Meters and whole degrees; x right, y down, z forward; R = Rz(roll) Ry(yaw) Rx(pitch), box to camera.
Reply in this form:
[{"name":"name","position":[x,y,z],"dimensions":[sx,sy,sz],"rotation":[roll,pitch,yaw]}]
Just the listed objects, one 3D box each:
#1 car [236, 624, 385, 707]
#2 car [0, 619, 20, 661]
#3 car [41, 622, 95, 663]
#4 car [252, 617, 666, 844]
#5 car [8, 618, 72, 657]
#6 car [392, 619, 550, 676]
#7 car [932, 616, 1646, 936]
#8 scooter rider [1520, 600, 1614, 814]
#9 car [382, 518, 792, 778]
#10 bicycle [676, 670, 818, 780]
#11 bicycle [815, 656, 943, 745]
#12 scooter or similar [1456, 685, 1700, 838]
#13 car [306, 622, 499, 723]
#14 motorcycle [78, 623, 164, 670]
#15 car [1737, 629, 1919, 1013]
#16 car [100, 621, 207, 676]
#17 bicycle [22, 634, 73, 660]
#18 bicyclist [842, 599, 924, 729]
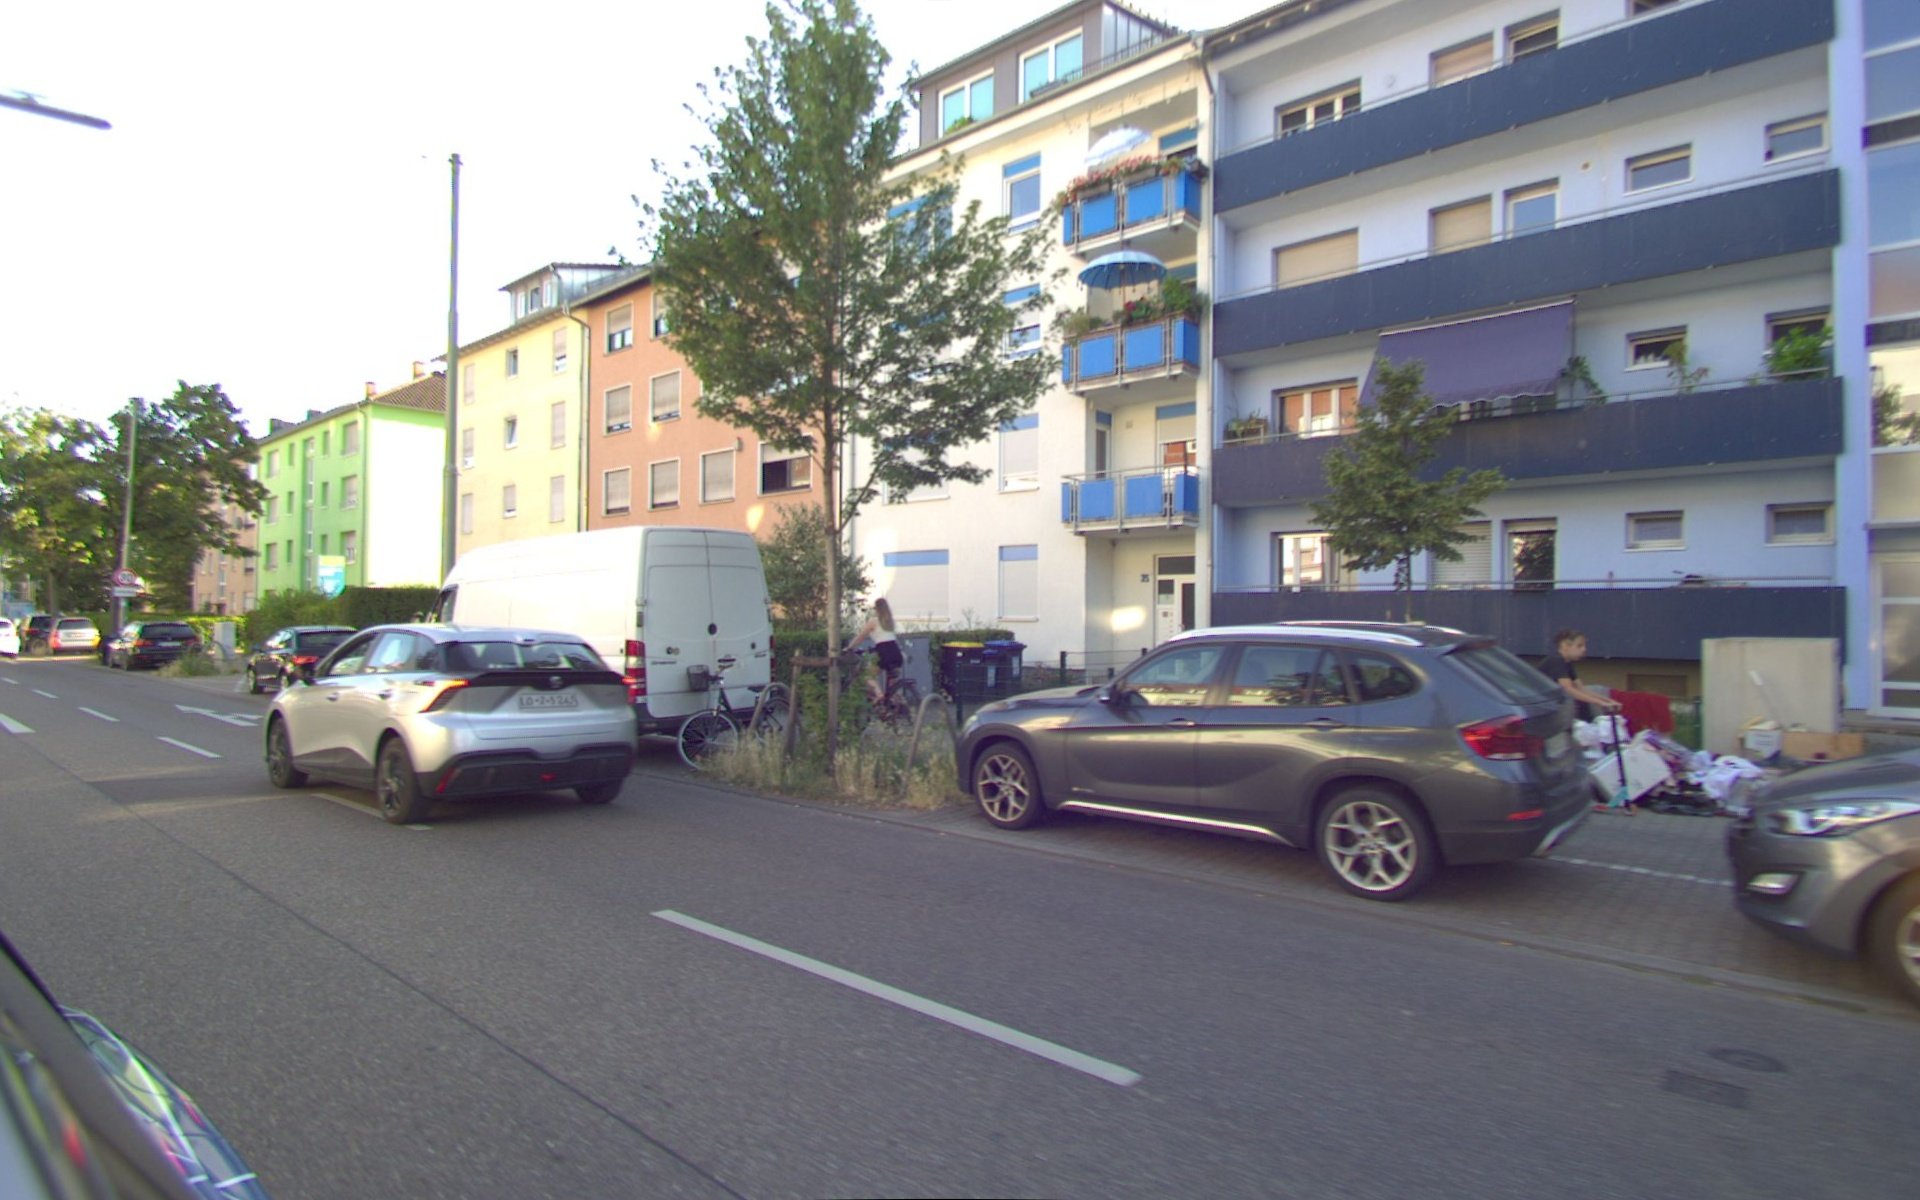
[{"name":"car","position":[-13.318,1.271,20.681],"dimensions":[3.812,1.484,1.595],"rotation":[-1,0,42]},{"name":"car","position":[-37.474,1.527,38.590],"dimensions":[4.263,1.555,1.860],"rotation":[-1,-3,40]},{"name":"car","position":[-37.044,1.734,42.012],"dimensions":[2.862,1.629,1.482],"rotation":[-1,-2,45]},{"name":"car","position":[-4.444,0.940,8.732],"dimensions":[3.969,1.506,1.762],"rotation":[-1,-4,41]},{"name":"car","position":[-43.522,1.744,47.833],"dimensions":[4.616,1.746,1.764],"rotation":[-1,-2,42]},{"name":"car","position":[-14.489,1.361,30.126],"dimensions":[1.628,1.540,3.945],"rotation":[-1,-1,41]},{"name":"car","position":[1.968,0.906,7.070],"dimensions":[4.473,1.555,1.654],"rotation":[-1,-2,43]},{"name":"scooter rider","position":[4.872,0.830,8.130],"dimensions":[0.458,1.643,0.535],"rotation":[2,-3,-45]},{"name":"car","position":[-5.271,0.540,13.401],"dimensions":[7.102,2.636,1.972],"rotation":[-1,-1,42]},{"name":"bicycle","position":[-2.244,1.294,10.766],"dimensions":[1.454,1.022,0.440],"rotation":[0,-1,-41]},{"name":"bicycle","position":[-1.079,1.264,13.130],"dimensions":[0.613,1.022,1.955],"rotation":[2,-2,-41]},{"name":"scooter or similar","position":[4.889,1.233,8.091],"dimensions":[0.458,1.022,1.590],"rotation":[2,-3,-44]},{"name":"car","position":[-9.820,1.166,17.702],"dimensions":[4.057,1.503,1.689],"rotation":[-1,1,42]},{"name":"motorcycle","position":[-27.454,1.500,33.165],"dimensions":[0.980,1.399,2.022],"rotation":[0,1,9]},{"name":"car","position":[5.430,0.863,3.537],"dimensions":[4.144,1.495,1.674],"rotation":[-1,-2,44]},{"name":"car","position":[-24.415,1.408,30.590],"dimensions":[4.586,1.516,1.760],"rotation":[-1,-2,41]},{"name":"bicycle","position":[-41.003,2.107,45.499],"dimensions":[0.560,1.097,1.656],"rotation":[-2,-1,43]},{"name":"bicyclist","position":[-0.994,0.801,13.051],"dimensions":[0.596,1.605,0.941],"rotation":[2,-3,-41]}]
